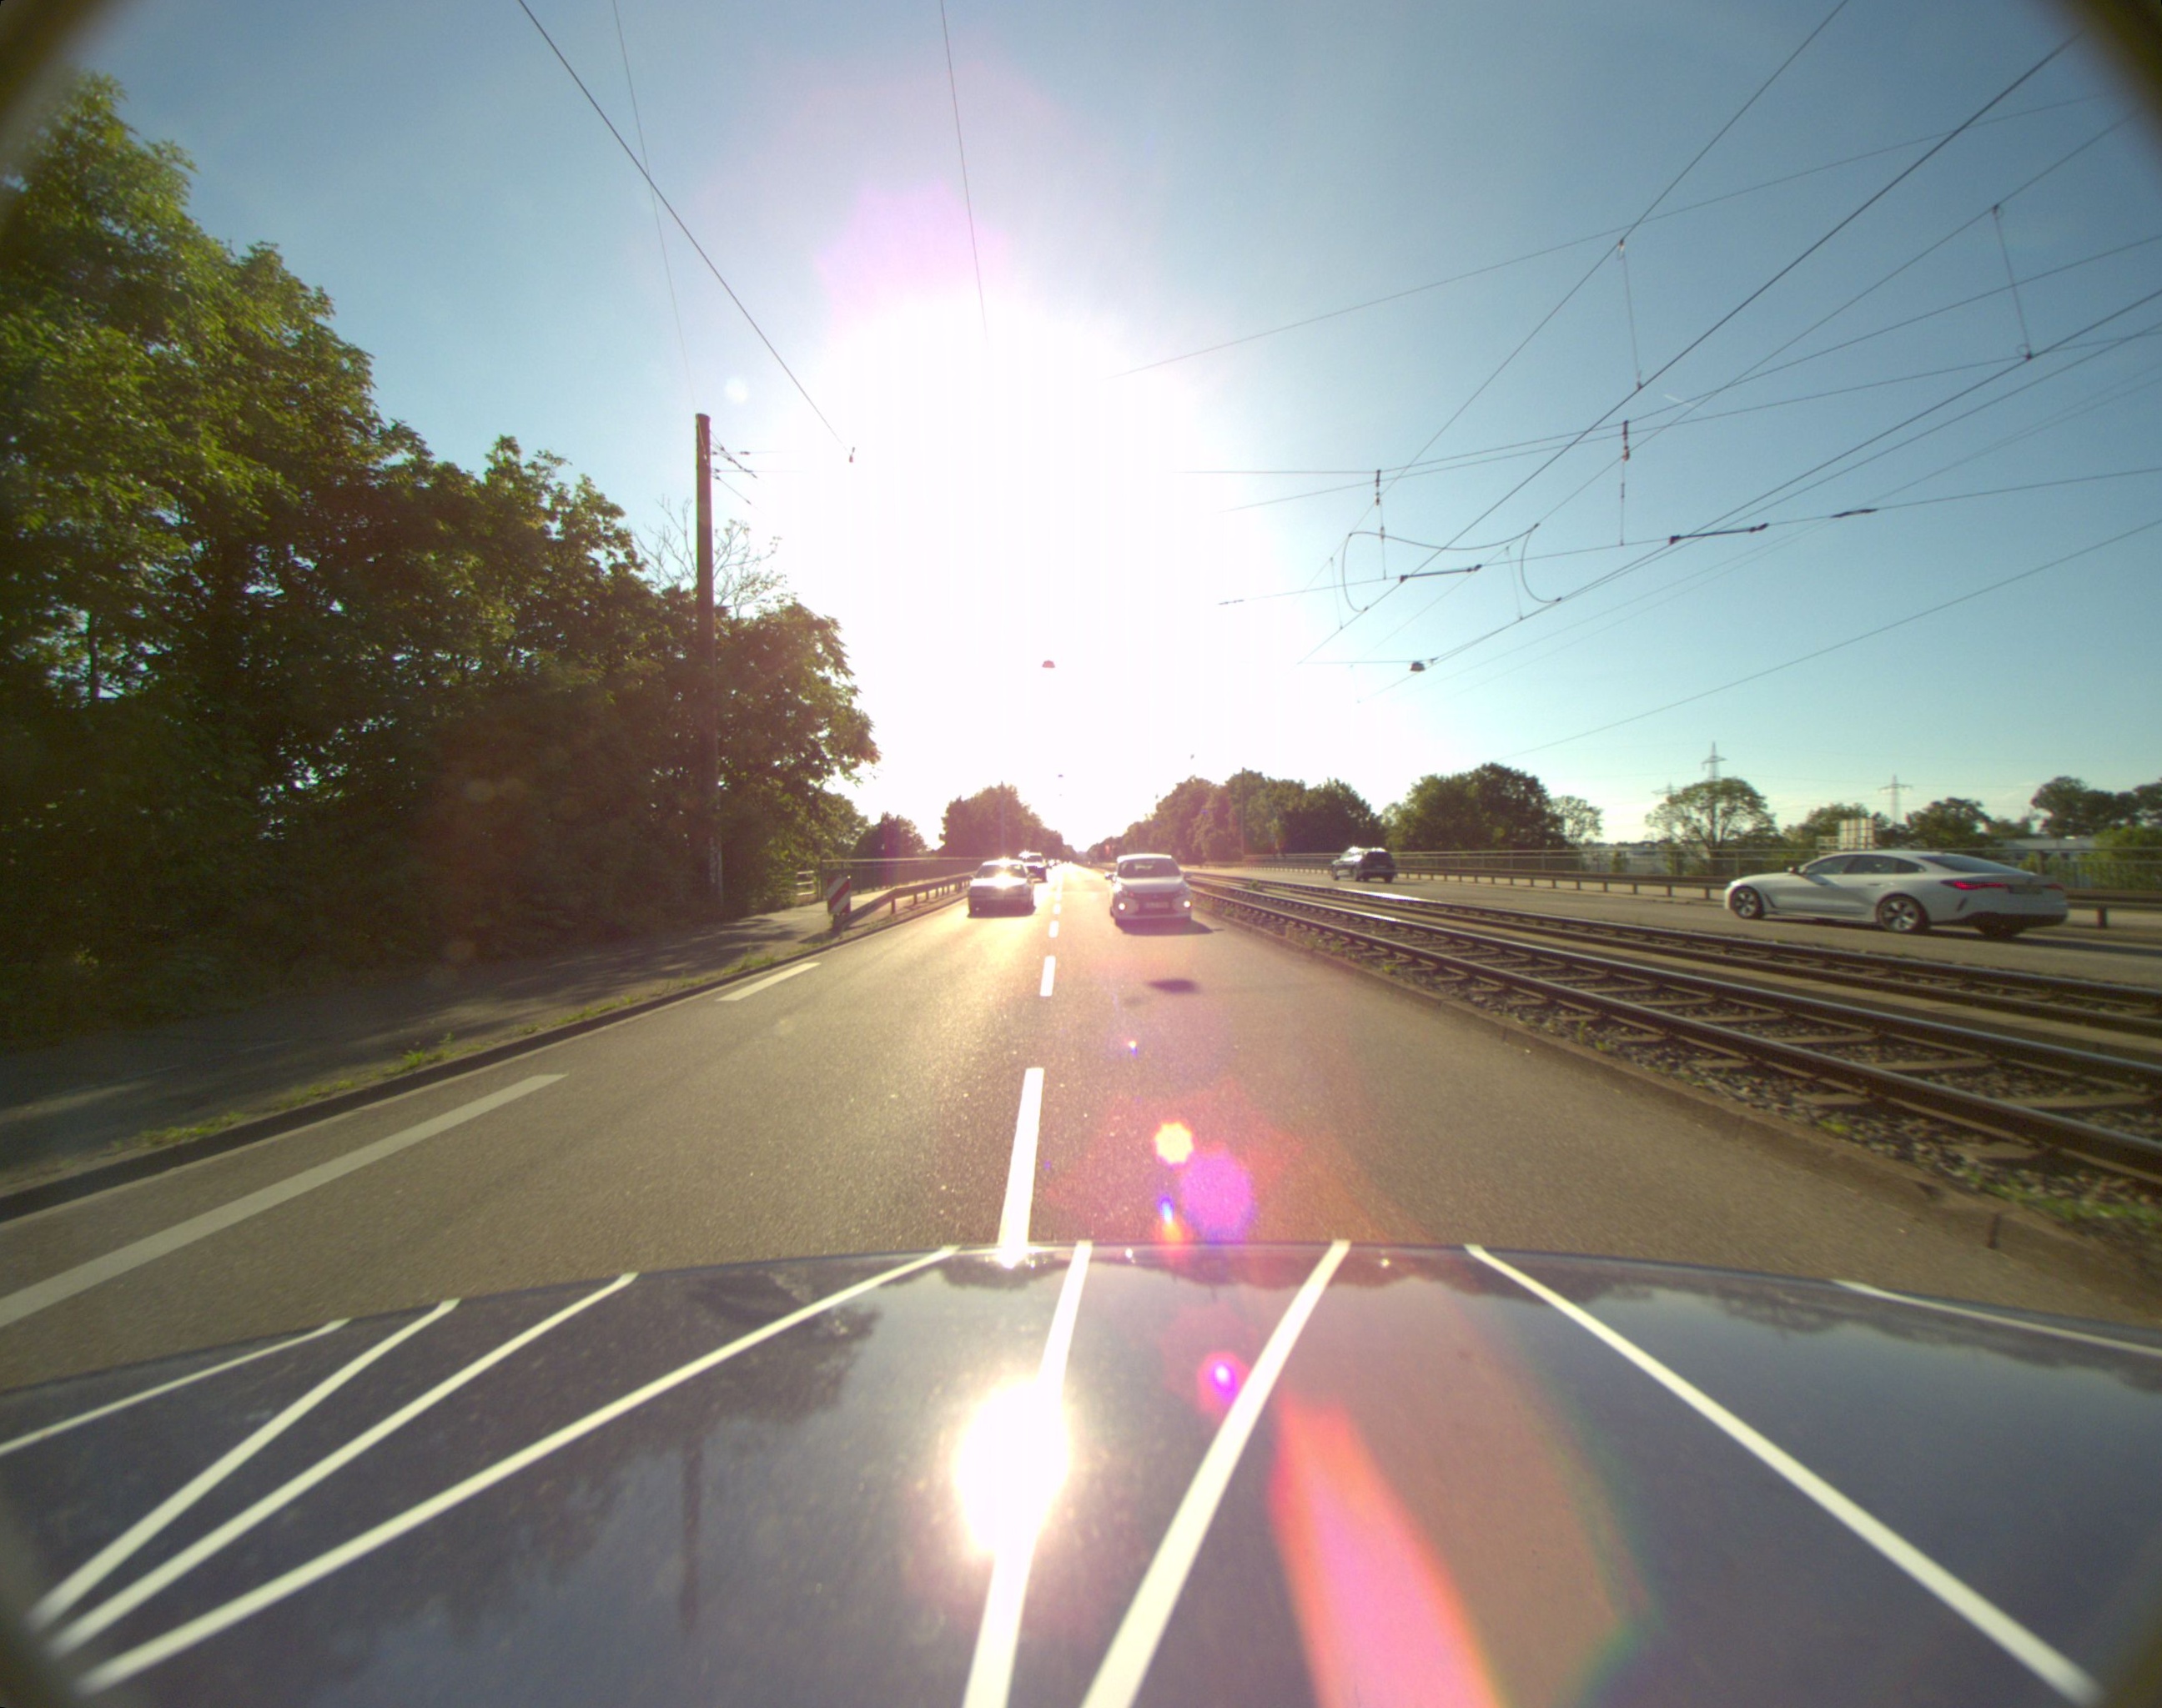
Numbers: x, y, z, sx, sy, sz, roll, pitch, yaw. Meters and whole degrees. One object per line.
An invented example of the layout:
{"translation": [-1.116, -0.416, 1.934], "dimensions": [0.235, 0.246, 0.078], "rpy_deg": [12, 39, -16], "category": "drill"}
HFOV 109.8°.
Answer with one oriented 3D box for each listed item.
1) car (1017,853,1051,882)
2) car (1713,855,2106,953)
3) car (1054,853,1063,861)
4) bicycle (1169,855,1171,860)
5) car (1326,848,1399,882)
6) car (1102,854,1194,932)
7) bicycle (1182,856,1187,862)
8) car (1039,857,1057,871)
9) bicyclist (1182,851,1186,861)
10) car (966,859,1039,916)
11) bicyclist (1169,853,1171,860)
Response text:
{"translation": [-2.717, 0.745, 44.418], "dimensions": [1.709, 1.512, 3.844], "rpy_deg": [-2, 1, 0], "category": "car"}
{"translation": [14.623, 0.762, 13.983], "dimensions": [1.759, 1.406, 4.876], "rpy_deg": [1, 1, -2], "category": "car"}
{"translation": [-4.865, 0.683, 163.635], "dimensions": [1.905, 1.512, 3.956], "rpy_deg": [-2, 1, -1], "category": "car"}
{"translation": [17.705, 0.777, 150.925], "dimensions": [0.426, 0.958, 1.913], "rpy_deg": [-2, 1, 5], "category": "bicycle"}
{"translation": [13.881, 0.478, 37.736], "dimensions": [1.713, 1.571, 4.800], "rpy_deg": [0, 0, -2], "category": "car"}
{"translation": [1.408, 0.793, 17.306], "dimensions": [1.709, 1.503, 3.862], "rpy_deg": [-2, 1, 0], "category": "car"}
{"translation": [18.090, 0.860, 132.842], "dimensions": [0.505, 1.046, 1.727], "rpy_deg": [-2, 1, -1], "category": "bicycle"}
{"translation": [-3.859, 1.152, 88.428], "dimensions": [1.905, 1.512, 3.956], "rpy_deg": [-2, 1, 0], "category": "car"}
{"translation": [18.076, 0.286, 132.834], "dimensions": [0.498, 1.741, 0.833], "rpy_deg": [-2, 1, -2], "category": "bicyclist"}
{"translation": [-2.235, 0.912, 22.500], "dimensions": [1.693, 1.409, 4.134], "rpy_deg": [-2, 1, 0], "category": "car"}
{"translation": [17.693, 0.437, 150.987], "dimensions": [0.423, 1.420, 0.754], "rpy_deg": [-2, 1, 5], "category": "bicyclist"}
